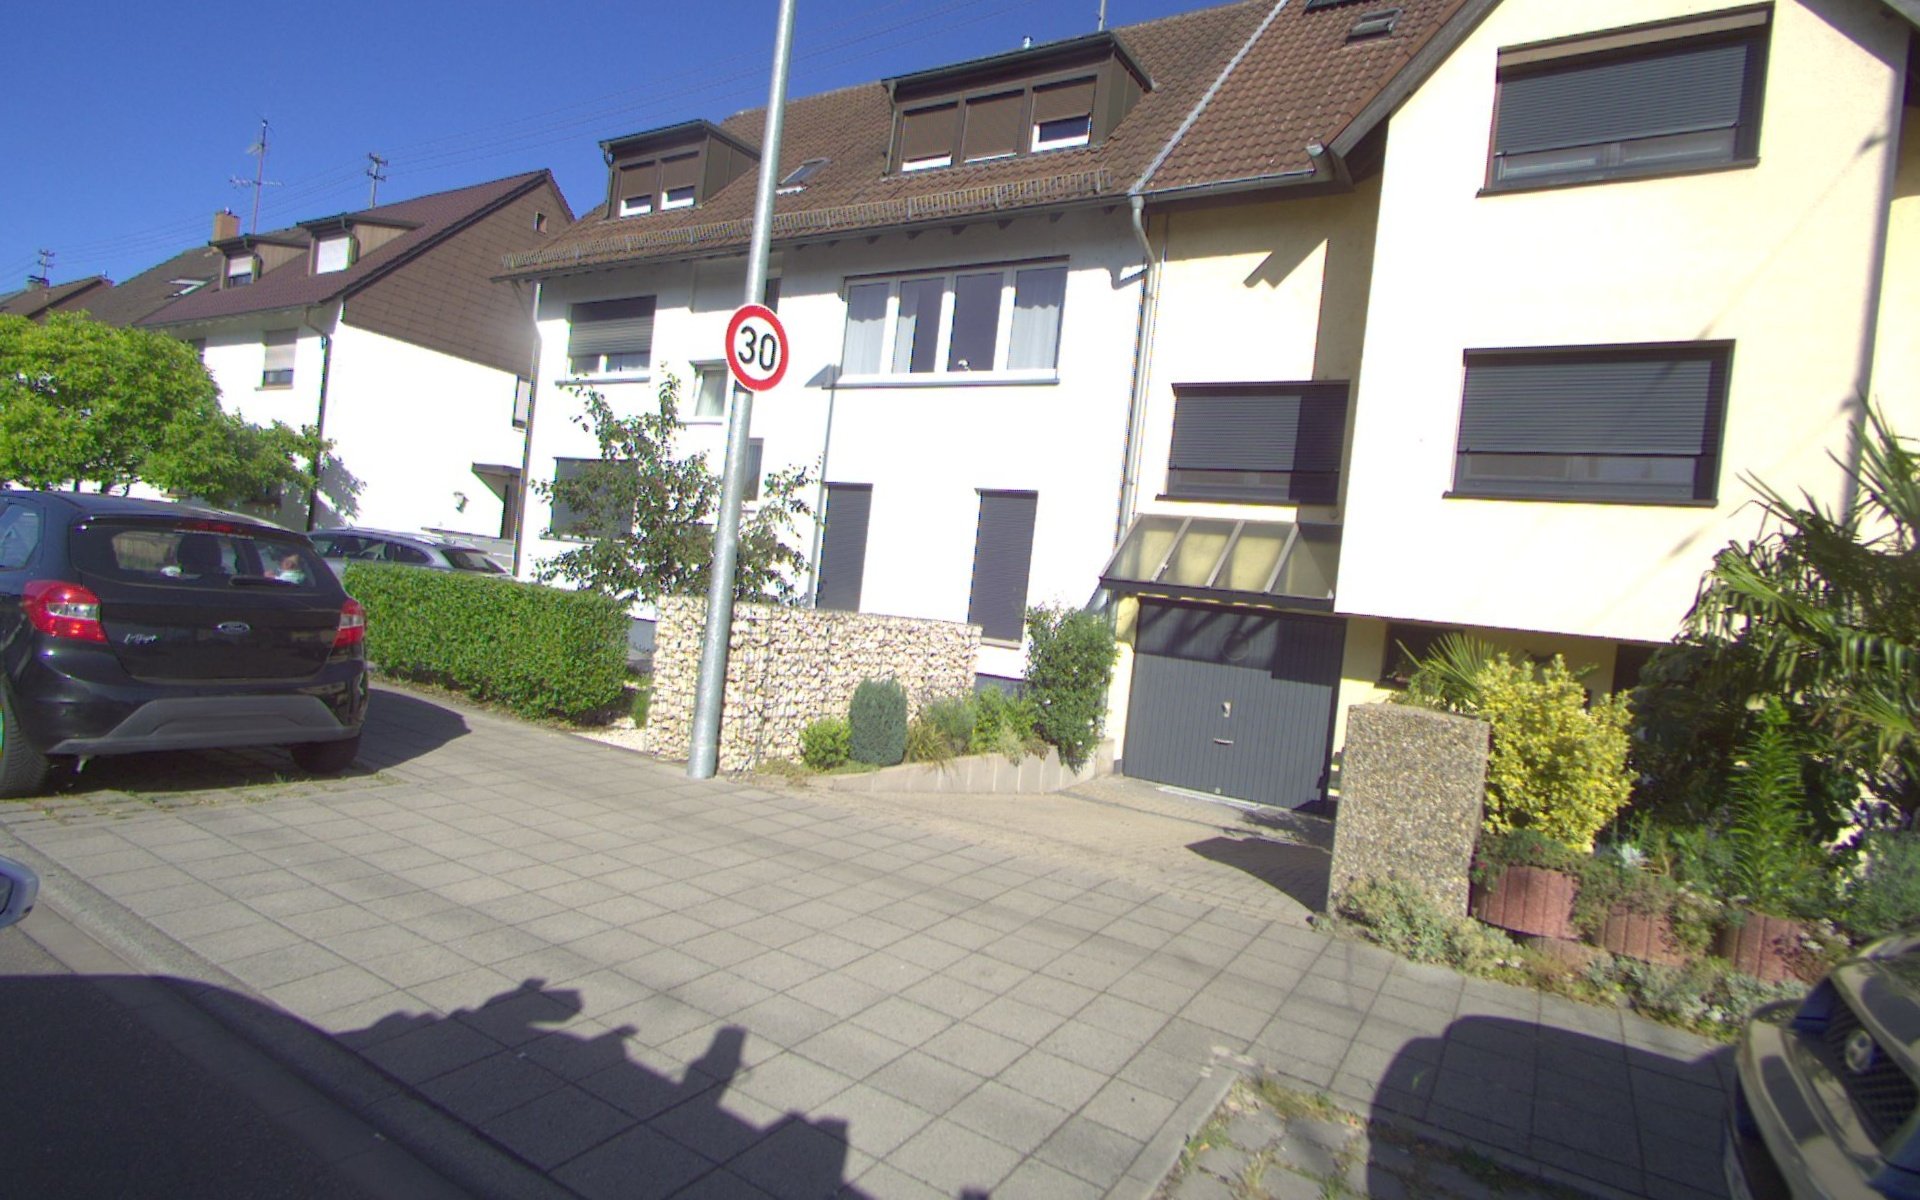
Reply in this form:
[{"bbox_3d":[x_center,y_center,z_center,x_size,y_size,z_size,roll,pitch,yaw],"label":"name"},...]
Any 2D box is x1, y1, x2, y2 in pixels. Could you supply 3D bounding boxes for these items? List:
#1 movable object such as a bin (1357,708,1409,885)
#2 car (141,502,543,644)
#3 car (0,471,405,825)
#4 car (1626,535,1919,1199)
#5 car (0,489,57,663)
[{"bbox_3d":[2.753,1.258,6.536,0.202,1.073,0.560,5,-4,26],"label":"movable object such as a bin"},{"bbox_3d":[-9.045,-0.385,14.943,4.789,1.463,2.000,6,1,6],"label":"car"},{"bbox_3d":[-5.291,0.077,6.172,3.773,1.568,1.666,6,2,33],"label":"car"},{"bbox_3d":[3.313,1.032,0.815,4.399,1.680,1.856,6,0,31],"label":"car"},{"bbox_3d":[-10.377,-0.426,9.364,4.375,1.493,1.618,6,0,31],"label":"car"}]
